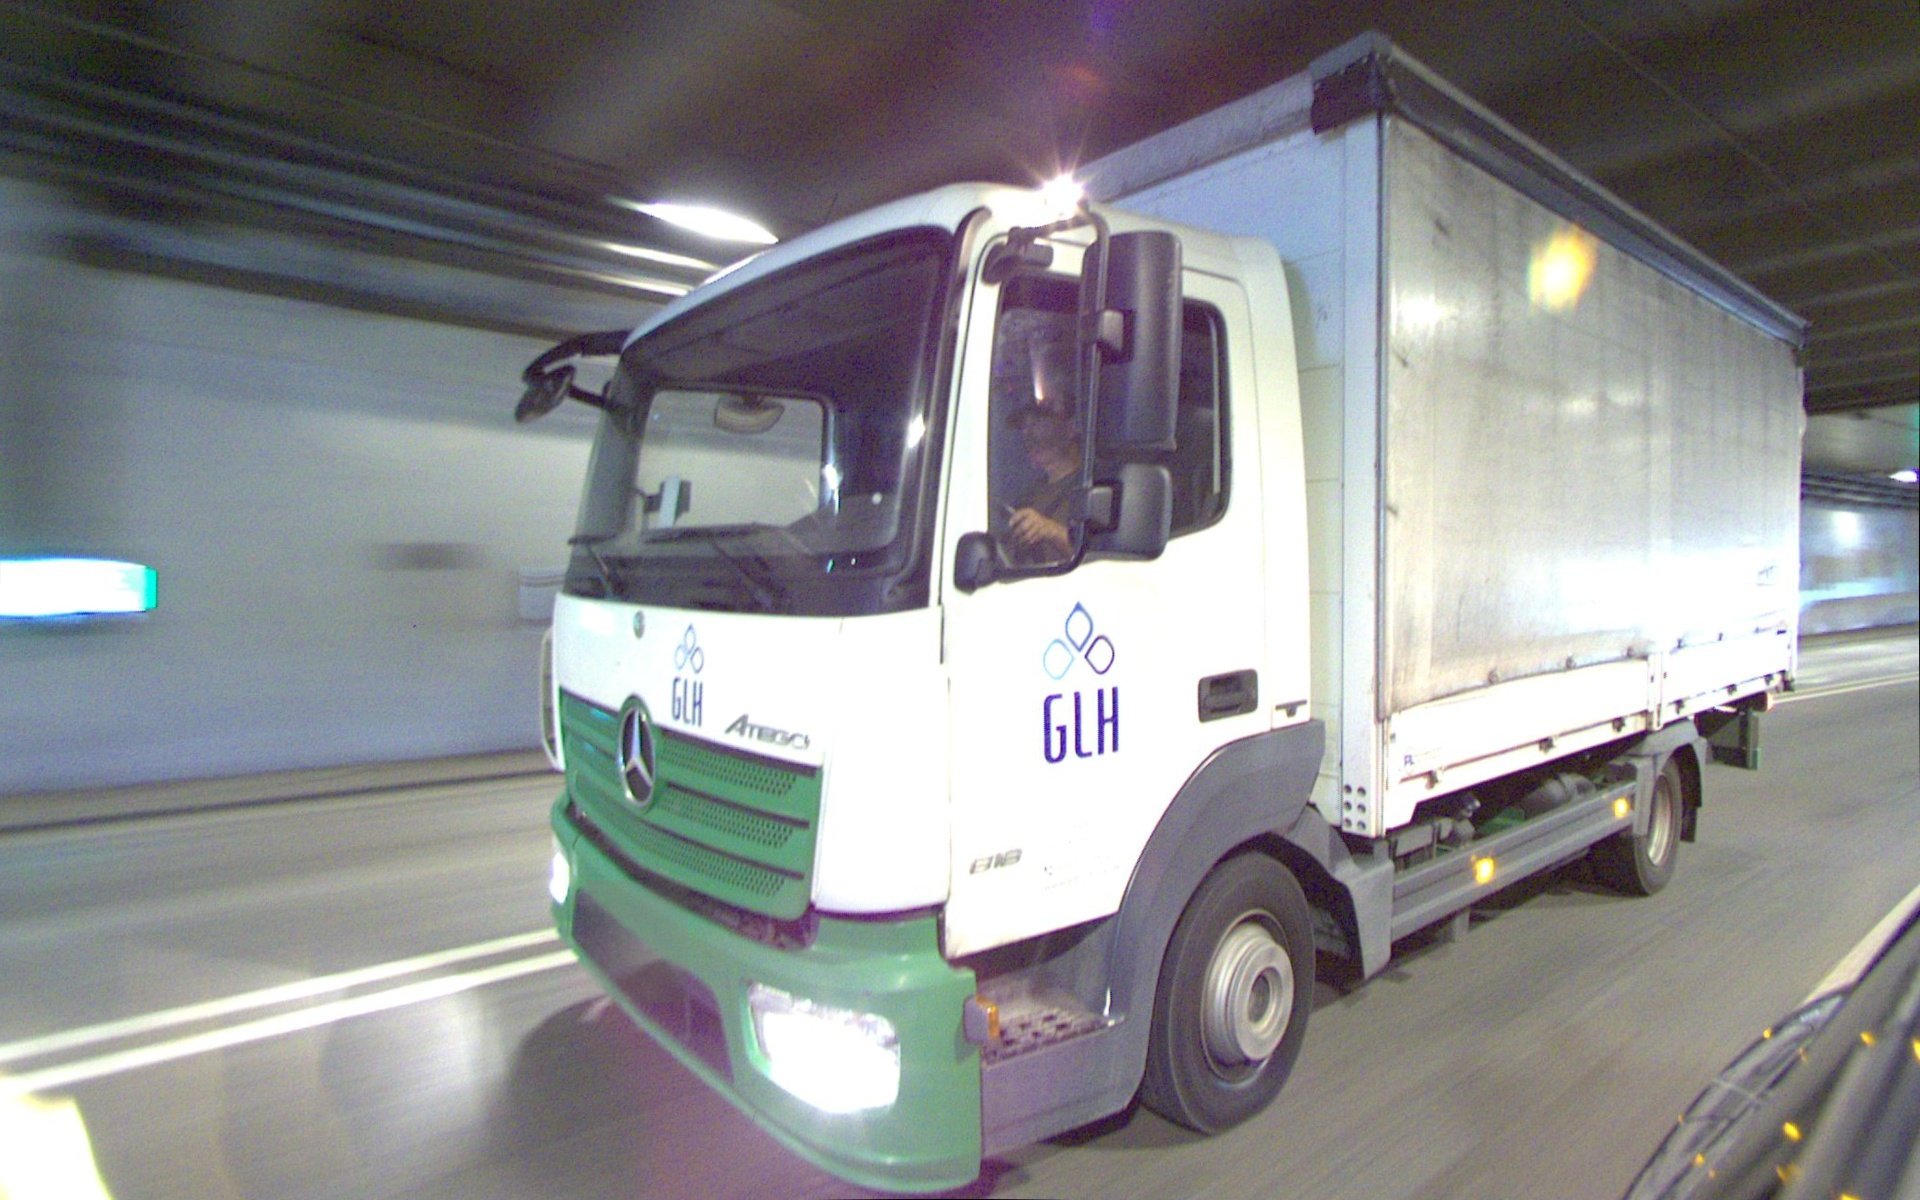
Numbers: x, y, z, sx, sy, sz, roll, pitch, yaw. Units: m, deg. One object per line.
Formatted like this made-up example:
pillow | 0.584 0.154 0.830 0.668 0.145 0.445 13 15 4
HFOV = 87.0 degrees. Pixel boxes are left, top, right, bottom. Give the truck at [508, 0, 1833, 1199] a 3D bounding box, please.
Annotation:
truck | 1.869 -0.204 5.057 7.114 3.221 2.559 1 -1 -39
